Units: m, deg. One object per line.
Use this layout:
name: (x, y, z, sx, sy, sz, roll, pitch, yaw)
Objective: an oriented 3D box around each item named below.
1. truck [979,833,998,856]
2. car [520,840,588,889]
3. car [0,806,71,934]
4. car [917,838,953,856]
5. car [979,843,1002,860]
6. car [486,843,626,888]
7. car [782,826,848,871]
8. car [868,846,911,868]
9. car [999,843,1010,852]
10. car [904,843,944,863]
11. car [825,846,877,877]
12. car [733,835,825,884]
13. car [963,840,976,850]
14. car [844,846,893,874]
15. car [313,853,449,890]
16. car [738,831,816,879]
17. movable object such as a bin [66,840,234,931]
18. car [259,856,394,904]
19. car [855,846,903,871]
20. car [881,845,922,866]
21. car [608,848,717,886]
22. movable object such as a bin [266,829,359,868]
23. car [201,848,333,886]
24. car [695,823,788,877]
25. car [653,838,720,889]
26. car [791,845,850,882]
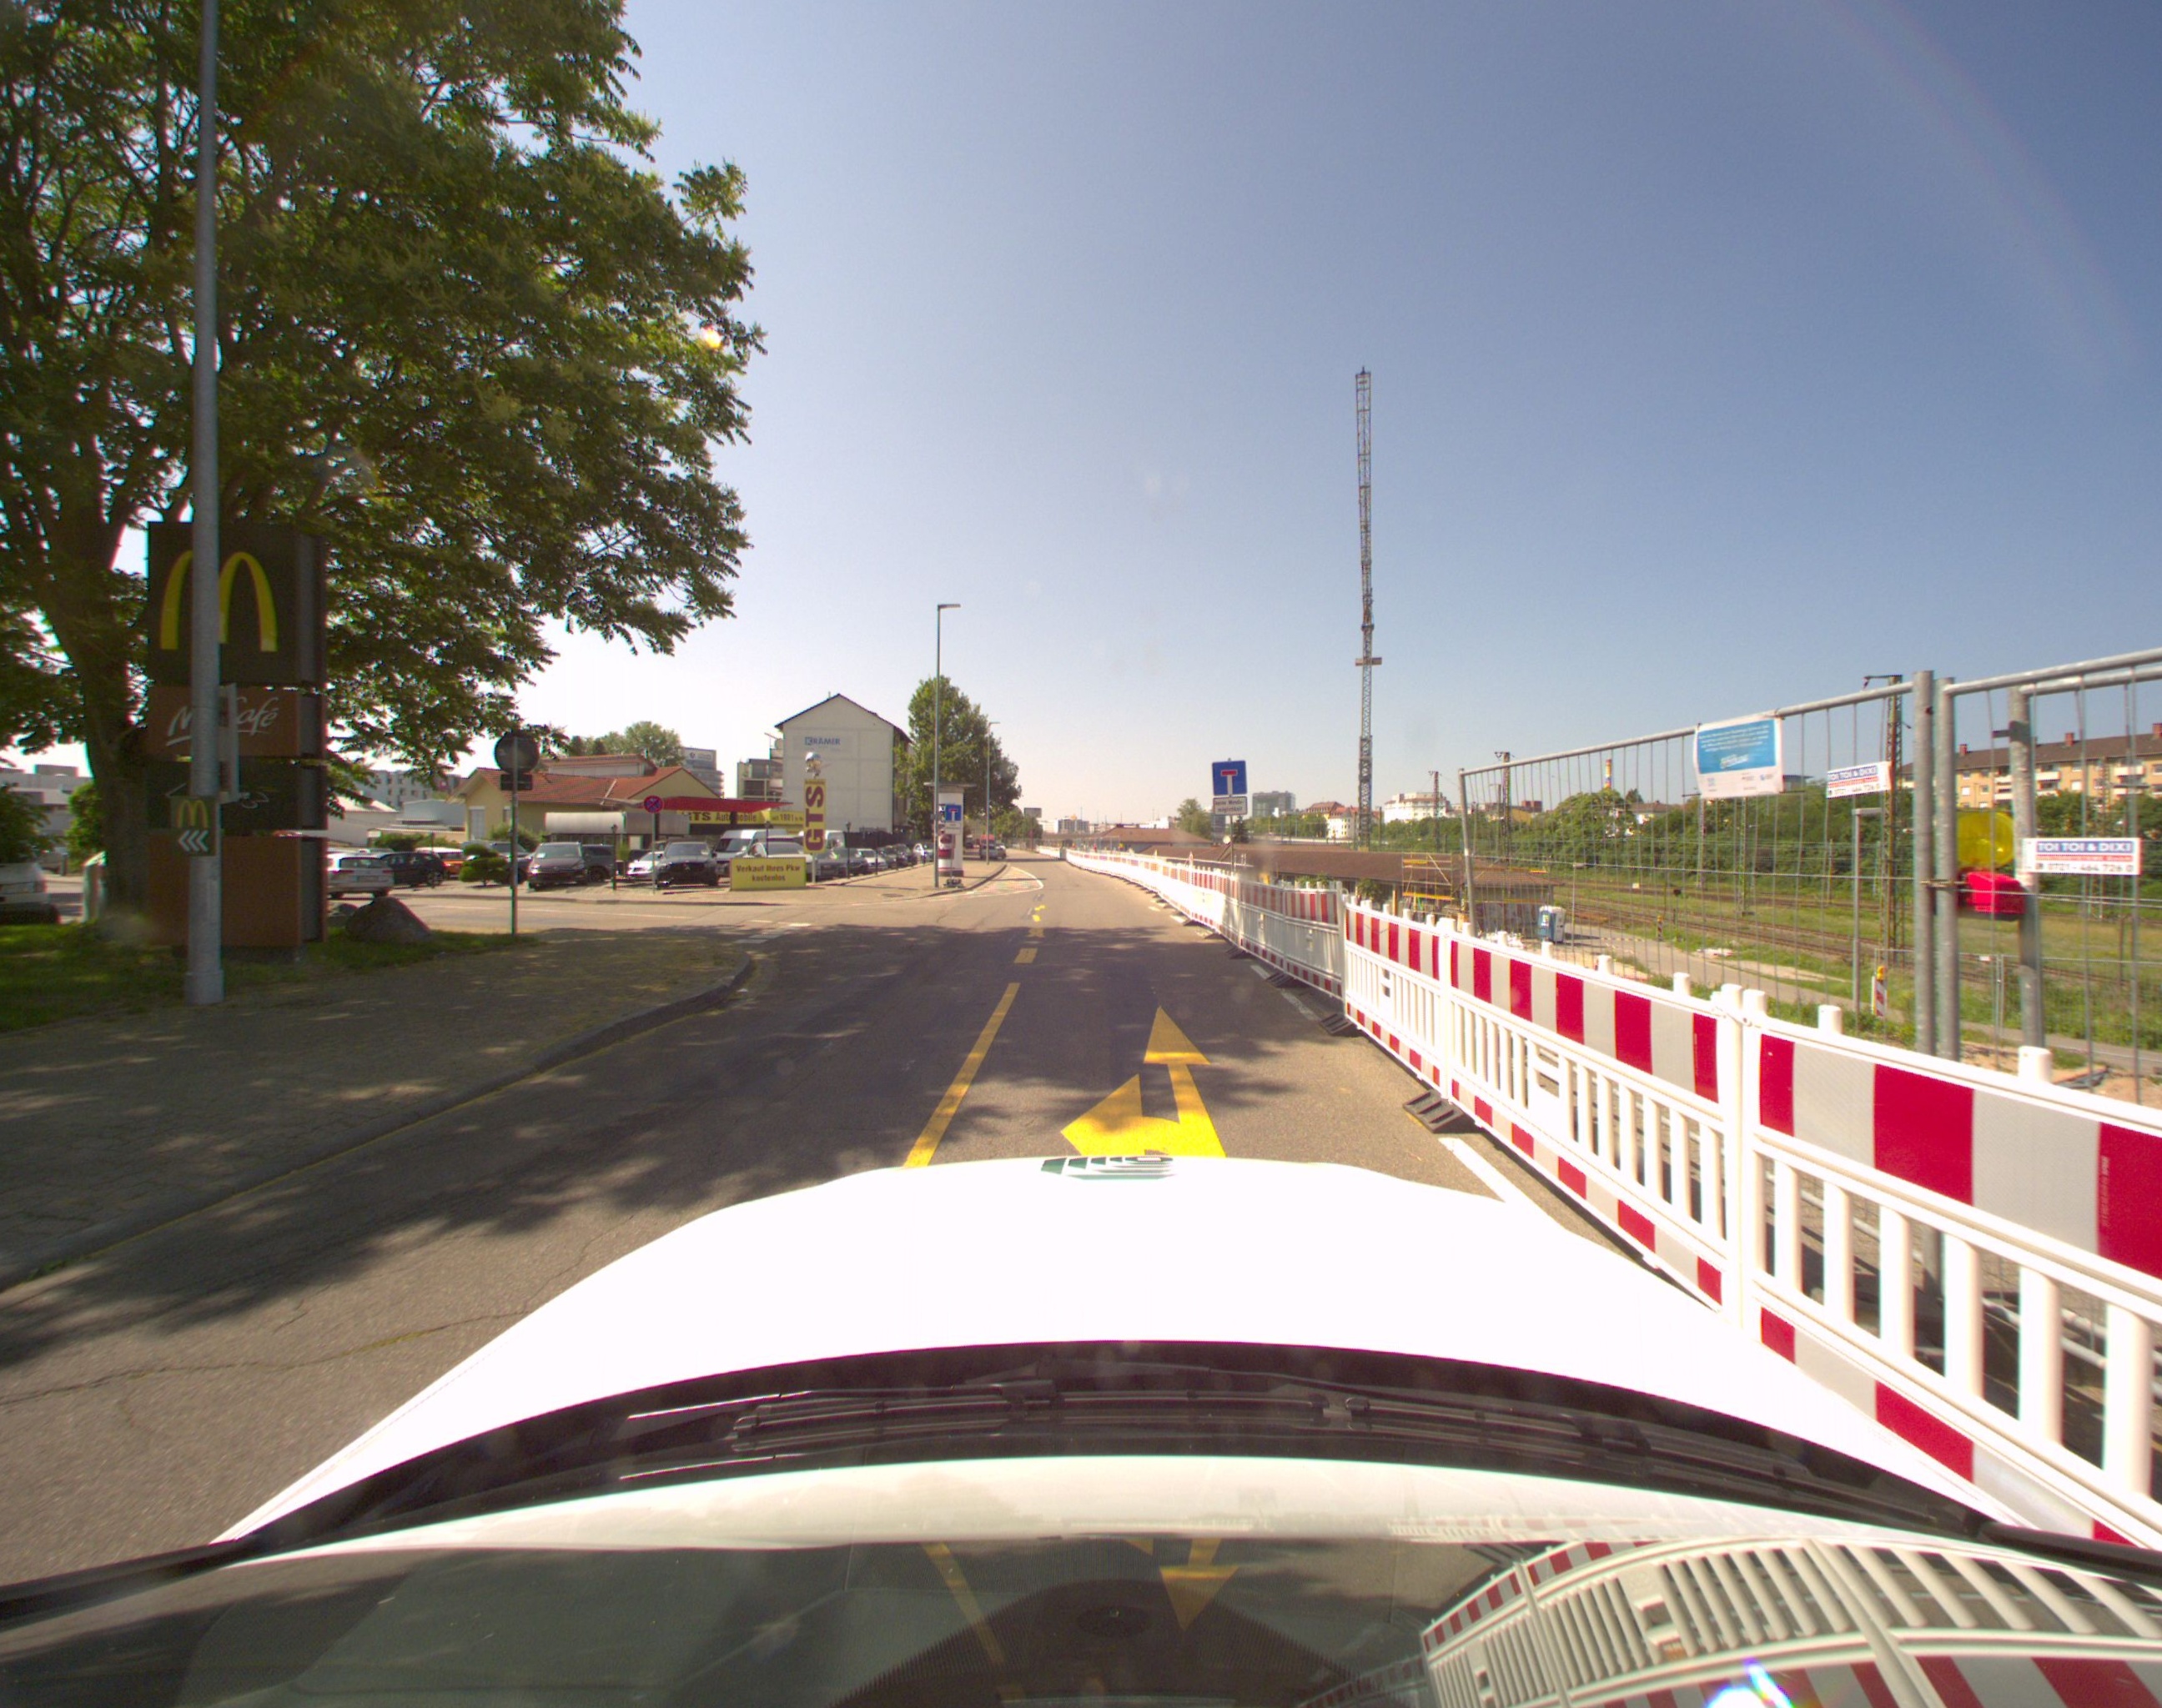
truck: (-11.300, -1.108, 99.592, 2.235, 2.648, 5.670, 0, 0, -6)
car: (-19.692, 0.347, 30.577, 1.815, 1.656, 4.275, -2, 1, -29)
car: (-18.270, 0.339, 13.228, 4.466, 1.920, 1.905, -3, 1, 34)
car: (-16.508, -0.800, 91.886, 3.925, 1.958, 1.752, 1, 0, -12)
car: (-8.923, -0.280, 80.306, 1.864, 1.498, 4.030, -1, 2, -1)
car: (-23.113, 0.468, 35.958, 4.919, 1.842, 2.137, -1, 1, -42)
car: (-15.959, -0.271, 49.201, 2.241, 2.430, 5.712, 3, -1, -3)
car: (-13.286, 0.200, 56.463, 1.678, 1.473, 3.960, -3, 1, -32)
car: (-11.854, -0.952, 126.191, 1.714, 1.415, 4.070, 0, 0, -6)
car: (-12.487, -0.043, 64.572, 1.788, 1.473, 3.960, -3, 1, -32)
car: (-12.000, 0.375, 42.302, 1.846, 1.473, 3.965, -3, 1, -27)
car: (-11.888, 0.249, 31.880, 1.991, 1.707, 4.610, -2, -1, -38)
car: (-21.304, -1.680, 156.233, 1.931, 1.834, 3.921, 4, 0, -2)
car: (-12.482, 0.355, 47.667, 1.791, 1.473, 3.962, -3, 1, -29)
car: (-30.785, 0.723, 35.980, 1.847, 1.489, 4.156, 0, 0, 23)
car: (-15.863, 0.082, 42.850, 2.238, 2.350, 4.823, 0, -1, 0)
movable object such as a bin: (-17.422, 0.565, 15.274, 1.755, 1.526, 1.463, -2, 2, 21)
car: (-25.076, 0.816, 27.033, 4.549, 1.493, 1.692, 0, 0, 25)
car: (-12.893, 0.289, 51.812, 1.679, 1.473, 3.957, -3, 1, -34)
car: (-13.431, 0.123, 60.851, 1.678, 1.473, 3.960, -3, 1, -32)
car: (-18.762, 0.534, 36.792, 1.897, 1.574, 4.700, 0, 1, 9)
movable object such as a bin: (-59.520, -0.429, 63.154, 1.975, 2.906, 4.863, 0, 0, 28)
car: (-40.220, 0.580, 40.364, 1.869, 1.750, 4.195, 0, 0, 23)
car: (-18.633, -0.184, 45.144, 2.267, 2.758, 6.158, 0, 0, 3)
car: (-14.480, 0.363, 29.889, 2.053, 1.707, 4.277, -1, -1, -26)
car: (-11.795, 0.394, 36.700, 1.846, 1.473, 3.965, -3, 1, -27)
